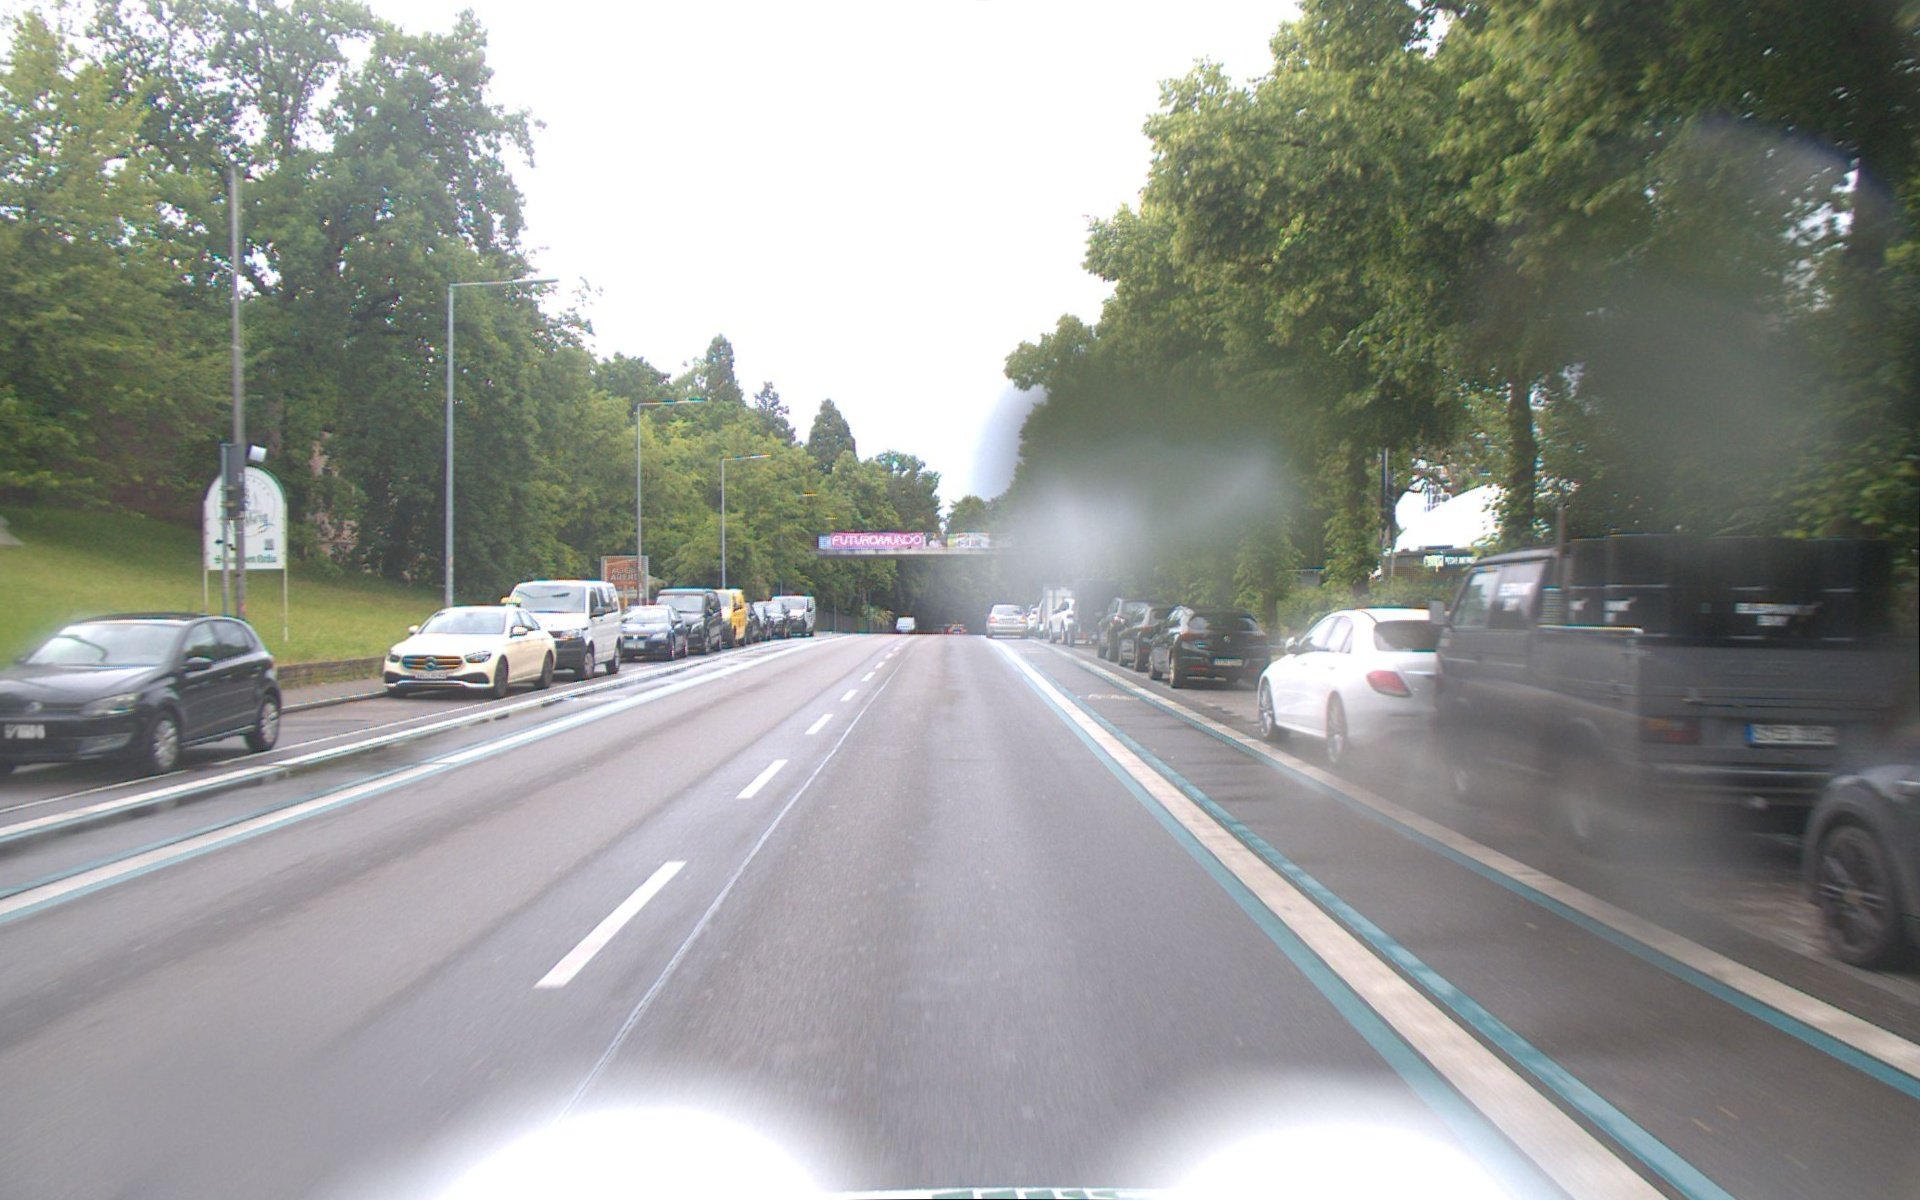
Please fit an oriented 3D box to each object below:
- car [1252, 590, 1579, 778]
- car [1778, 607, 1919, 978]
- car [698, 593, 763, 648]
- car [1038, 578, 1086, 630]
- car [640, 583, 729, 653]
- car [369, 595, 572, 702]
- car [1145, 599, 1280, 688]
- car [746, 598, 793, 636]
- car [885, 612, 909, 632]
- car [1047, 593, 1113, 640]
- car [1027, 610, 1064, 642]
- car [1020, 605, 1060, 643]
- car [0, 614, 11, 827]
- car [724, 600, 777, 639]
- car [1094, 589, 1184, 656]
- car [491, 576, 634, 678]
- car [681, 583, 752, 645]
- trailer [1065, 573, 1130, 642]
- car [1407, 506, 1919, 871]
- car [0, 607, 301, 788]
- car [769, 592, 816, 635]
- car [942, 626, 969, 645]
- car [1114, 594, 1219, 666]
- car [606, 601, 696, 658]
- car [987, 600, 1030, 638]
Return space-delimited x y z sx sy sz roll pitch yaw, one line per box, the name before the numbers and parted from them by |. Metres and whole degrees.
car | 4.335 0.718 16.595 1.753 1.570 4.887 1 0 -2
car | 4.675 0.804 5.904 1.573 1.478 3.746 1 0 -1
car | -8.541 0.725 61.884 1.950 1.926 4.053 0 1 -1
car | 4.363 0.167 71.444 1.850 2.164 4.045 -1 0 1
car | -8.344 0.500 50.545 1.950 1.980 5.141 0 1 -1
car | -8.266 0.754 28.451 1.949 1.633 4.985 -1 0 1
car | 4.598 0.753 30.714 1.696 1.489 4.275 1 0 -2
car | -8.414 0.727 73.306 1.833 1.569 4.052 0 1 -3
car | -4.986 1.724 130.256 1.832 1.499 4.051 0 -1 -3
car | 4.246 0.566 58.950 1.697 1.611 4.150 -1 0 -5
car | 4.292 1.302 83.636 1.695 1.488 4.045 -1 0 1
car | 3.728 1.095 77.552 1.695 1.713 4.045 -1 0 1
car | -7.750 0.865 9.506 2.035 1.508 4.671 0 0 -2
car | -8.497 0.757 67.385 1.848 1.476 3.980 0 1 -3
car | 4.554 0.557 42.639 1.696 1.611 4.152 1 0 -2
car | -8.208 0.496 34.610 1.874 1.965 4.927 0 1 -1
car | -8.320 0.442 56.806 1.845 1.979 4.825 0 1 -2
trailer | 4.522 0.237 54.839 1.845 2.204 3.808 -1 0 0
car | 4.743 0.486 11.691 1.887 2.057 4.663 0 0 0
car | -8.012 0.851 16.222 1.662 1.462 4.052 0 1 -3
car | -8.130 0.623 80.750 1.721 1.965 4.194 0 1 2
car | -0.401 3.143 146.560 2.098 1.518 4.495 0 0 -4
car | 4.569 0.637 37.162 1.696 1.489 4.071 1 1 -2
car | -8.361 0.763 45.082 1.696 1.414 4.369 0 1 -1
car | 2.075 0.800 72.131 1.696 1.611 4.036 -1 0 -1
